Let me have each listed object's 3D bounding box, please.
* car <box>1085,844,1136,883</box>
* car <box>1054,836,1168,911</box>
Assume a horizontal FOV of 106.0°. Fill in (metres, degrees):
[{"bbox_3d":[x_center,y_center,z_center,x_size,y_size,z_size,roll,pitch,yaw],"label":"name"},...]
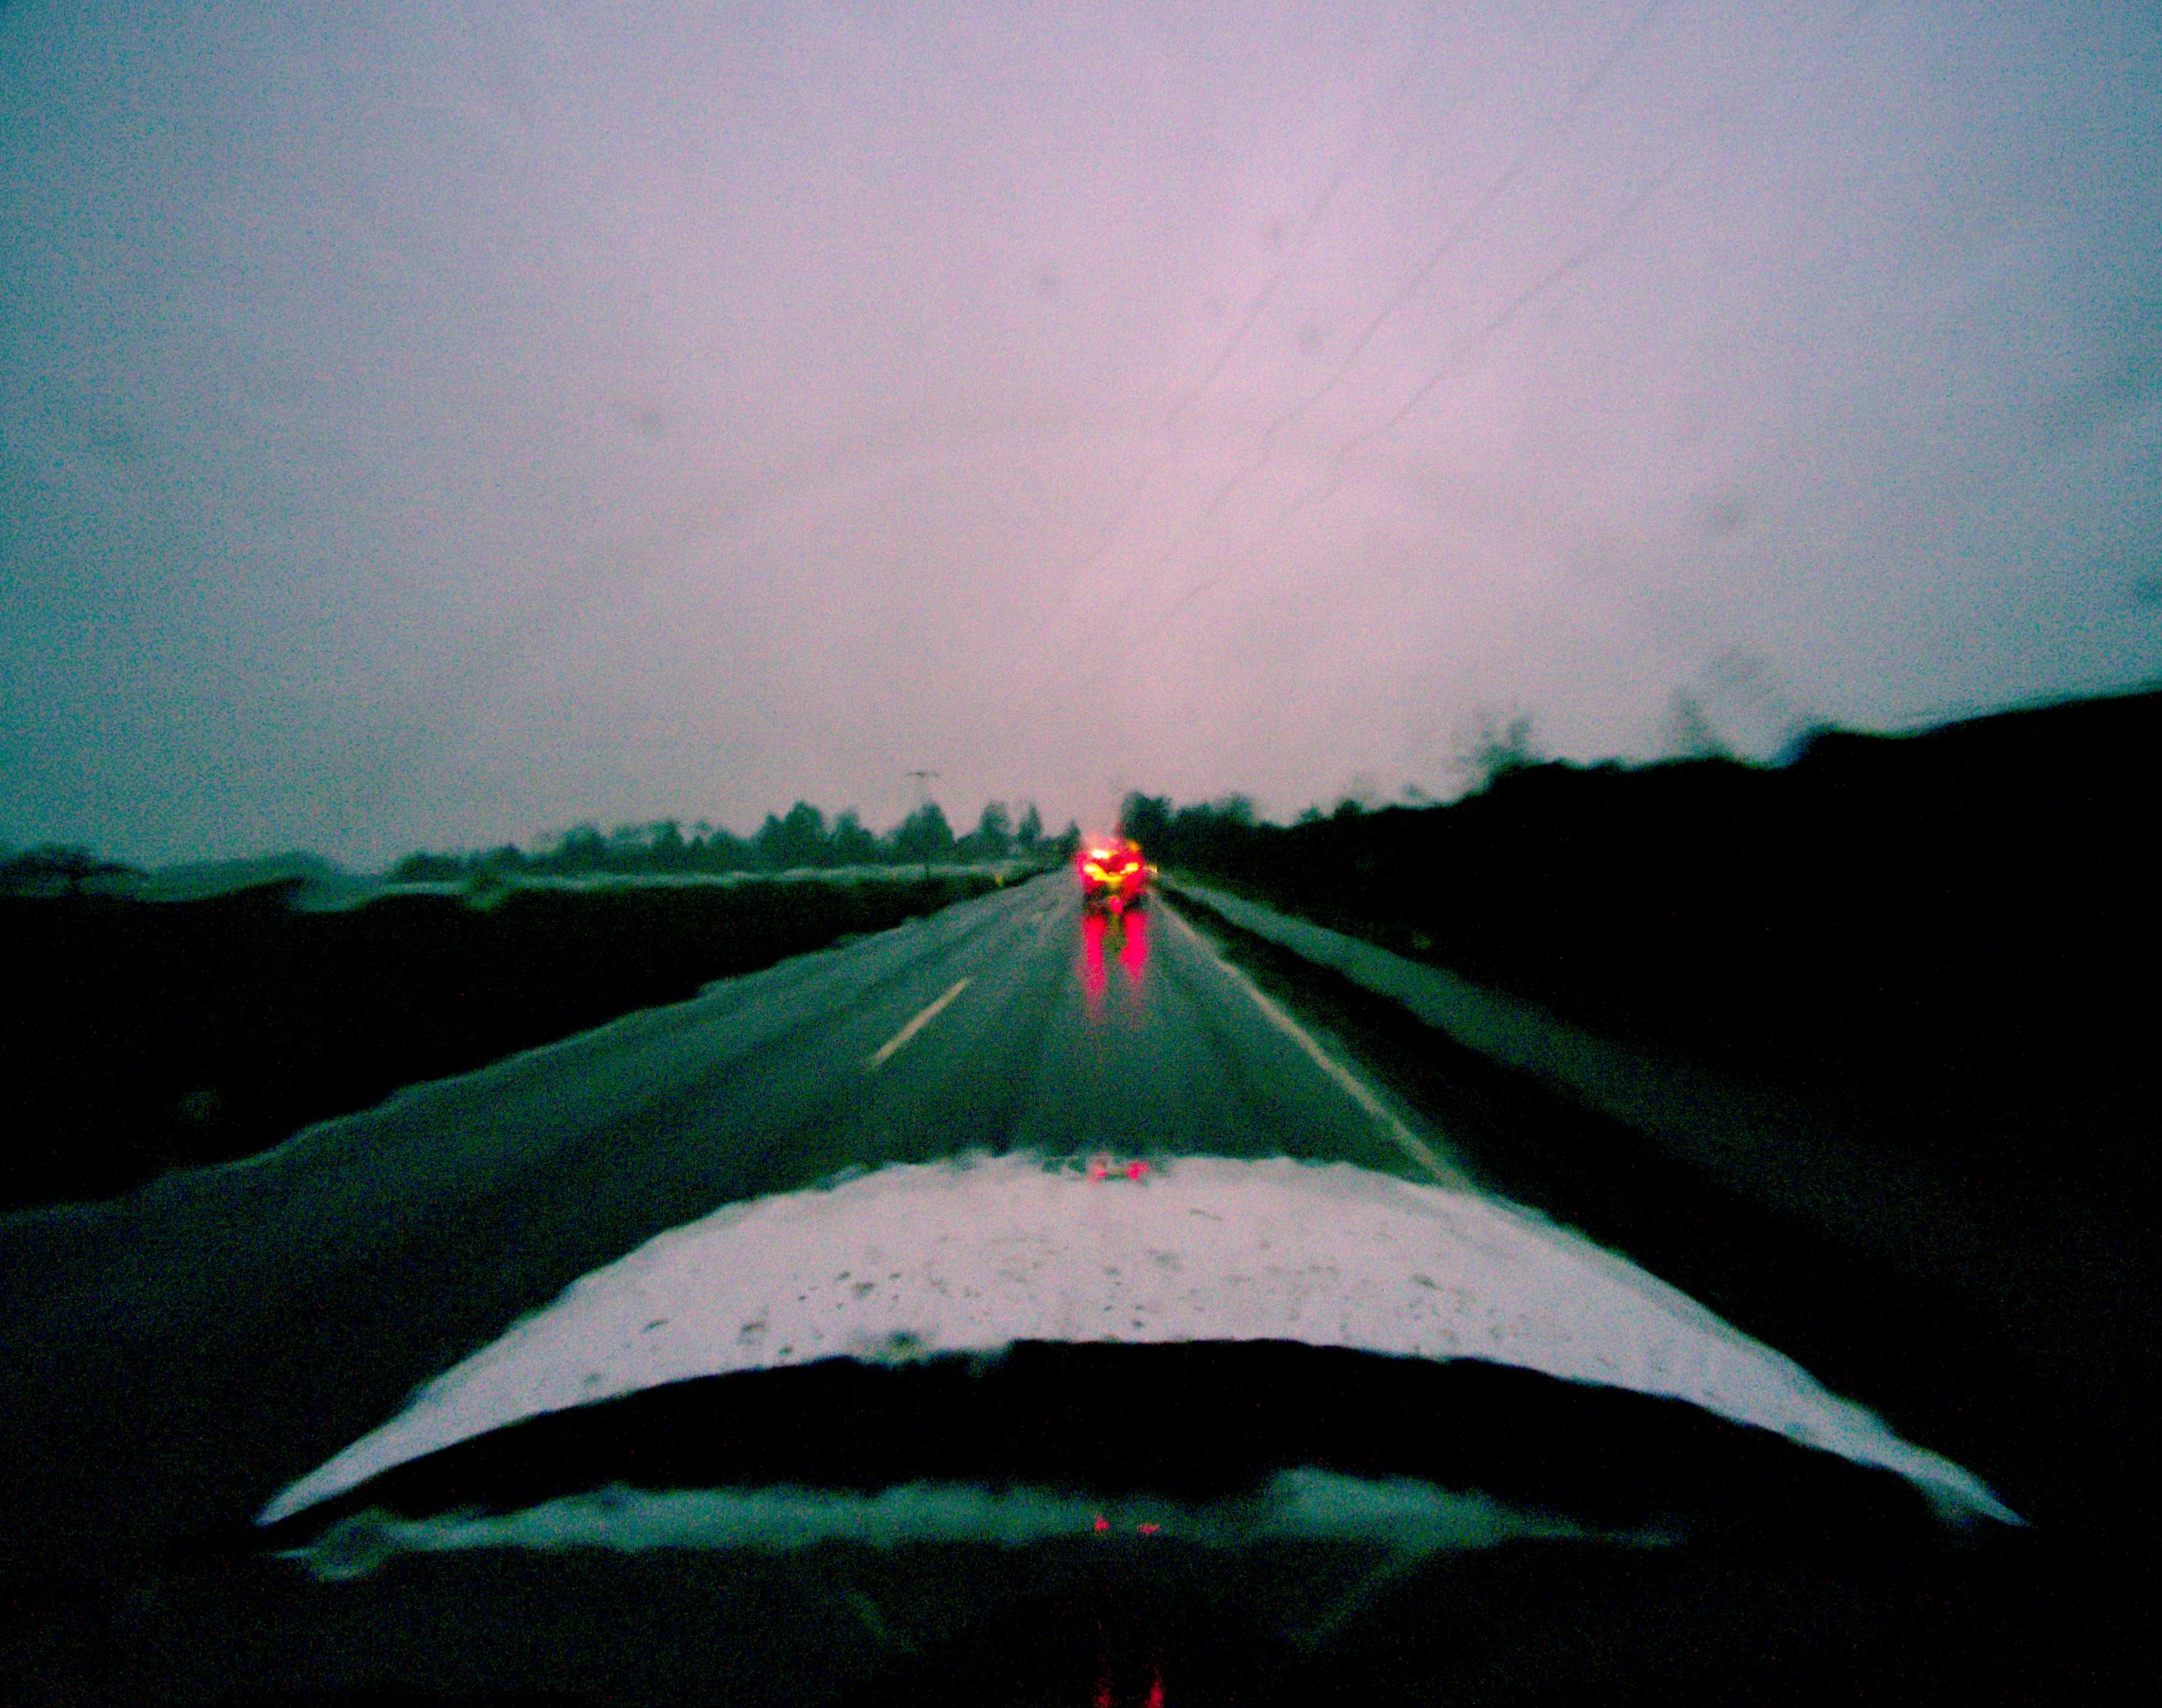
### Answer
[{"bbox_3d":[1.795,0.521,48.320,2.745,2.035,6.595,-2,0,2],"label":"car"},{"bbox_3d":[1.009,0.549,26.618,3.152,2.035,6.856,-2,0,2],"label":"car"}]
